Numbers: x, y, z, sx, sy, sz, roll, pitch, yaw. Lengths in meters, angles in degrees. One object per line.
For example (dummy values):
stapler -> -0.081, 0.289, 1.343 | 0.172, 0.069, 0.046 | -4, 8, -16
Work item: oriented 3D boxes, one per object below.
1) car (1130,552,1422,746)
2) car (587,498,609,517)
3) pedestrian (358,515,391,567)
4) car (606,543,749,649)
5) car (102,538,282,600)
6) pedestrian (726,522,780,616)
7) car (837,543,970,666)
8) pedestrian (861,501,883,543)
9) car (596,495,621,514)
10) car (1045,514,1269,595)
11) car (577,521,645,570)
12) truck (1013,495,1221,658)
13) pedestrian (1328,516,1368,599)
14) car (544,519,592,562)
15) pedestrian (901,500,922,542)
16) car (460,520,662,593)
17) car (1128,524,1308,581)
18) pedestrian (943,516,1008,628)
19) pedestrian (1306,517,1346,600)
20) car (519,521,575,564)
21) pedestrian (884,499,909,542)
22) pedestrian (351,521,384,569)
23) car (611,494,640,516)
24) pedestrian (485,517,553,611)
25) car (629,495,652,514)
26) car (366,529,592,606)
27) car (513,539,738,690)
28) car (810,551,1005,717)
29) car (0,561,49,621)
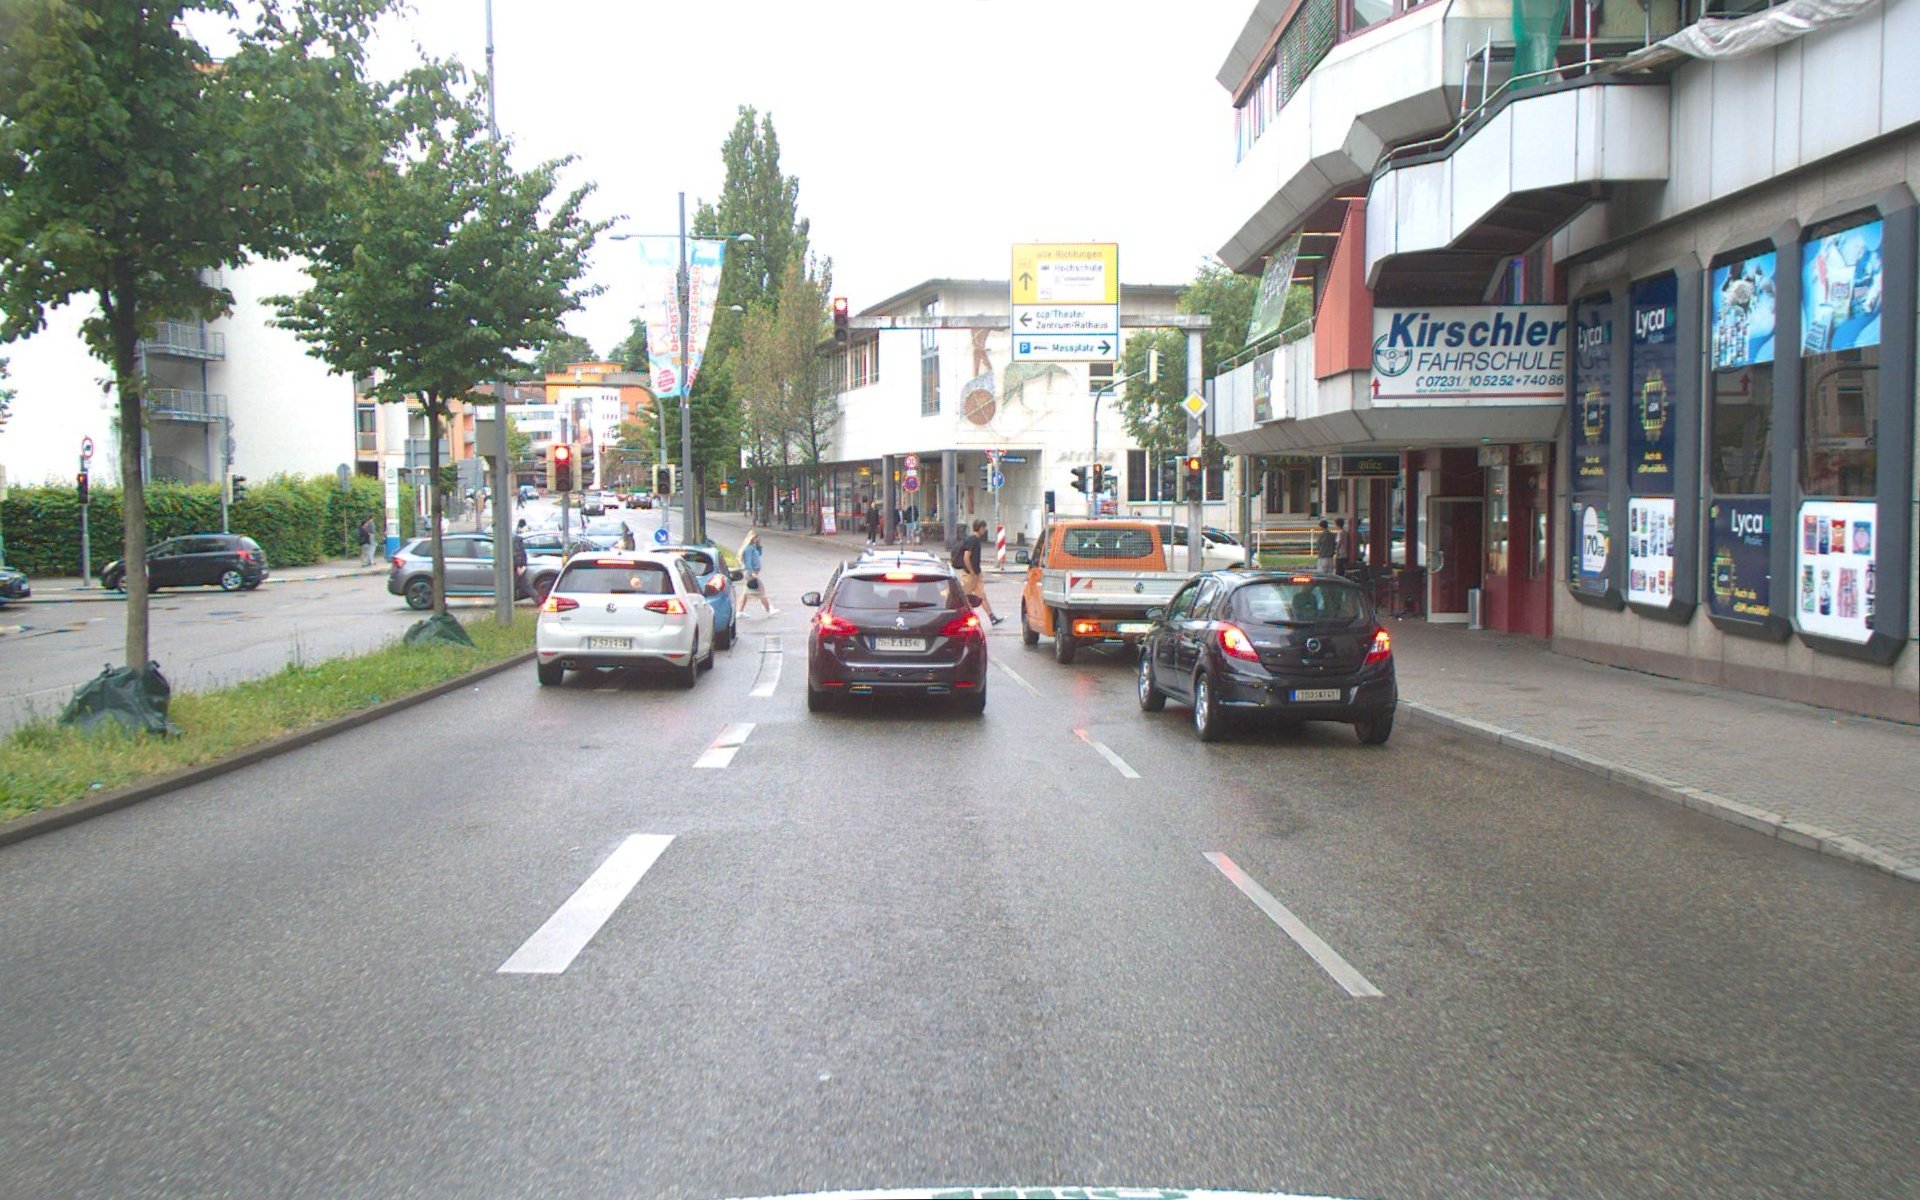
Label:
car -> 2.817, 0.356, 15.658 | 1.910, 1.601, 3.999 | 0, 1, -2
car -> -28.913, -7.365, 131.978 | 1.654, 1.292, 3.728 | -2, 1, -13
pedestrian -> -20.856, -2.101, 58.941 | 0.898, 1.834, 0.618 | -2, 1, -42
car -> -4.242, -0.114, 25.361 | 1.759, 1.493, 3.997 | 0, 2, -4
car -> -19.621, -0.810, 42.422 | 3.924, 1.554, 1.838 | -1, 1, -18
pedestrian -> -3.952, -0.591, 31.636 | 0.818, 1.752, 0.819 | -1, 1, 5
car -> -0.870, -0.010, 23.537 | 1.726, 1.569, 3.998 | 0, 2, -4
pedestrian -> -3.912, -3.467, 73.454 | 0.785, 1.834, 0.914 | -2, 1, -16
car -> -32.493, -8.830, 152.862 | 1.962, 1.623, 3.982 | -1, 1, -17
car -> 4.715, -1.070, 39.846 | 4.984, 1.789, 1.993 | 1, 1, -14
car -> -11.676, -1.809, 55.562 | 1.785, 1.576, 3.996 | 0, 1, -6
truck -> 2.144, -0.376, 24.342 | 2.141, 2.118, 5.599 | 0, 1, -4
pedestrian -> 8.242, -0.897, 35.158 | 0.566, 1.729, 0.648 | -2, 1, -15
car -> -16.301, -2.454, 68.910 | 1.674, 1.750, 3.991 | 0, 1, -10
pedestrian -> -2.177, -3.513, 73.547 | 0.691, 1.834, 0.935 | -2, 1, -16
car -> -9.816, -1.040, 40.705 | 4.617, 1.672, 1.775 | 1, 1, -22
car -> 6.841, -1.261, 43.990 | 4.326, 1.461, 1.991 | 0, 1, -16
pedestrian -> 0.283, -0.493, 29.222 | 1.040, 1.914, 0.839 | -1, 1, 5
pedestrian -> 7.692, -0.869, 34.765 | 0.565, 1.729, 0.649 | -2, 1, -11
car -> -15.482, -2.142, 62.134 | 1.745, 1.576, 3.991 | 0, 1, -10
pedestrian -> -2.809, -3.498, 72.964 | 0.832, 1.834, 1.052 | -2, 1, -16
pedestrian -> -20.584, -1.922, 57.445 | 0.918, 1.636, 0.555 | -2, 1, -42
car -> -32.540, -9.236, 160.877 | 1.967, 2.048, 3.971 | -1, 1, -24
pedestrian -> -8.445, -0.695, 31.726 | 0.989, 1.752, 0.839 | -1, 1, 3
car -> -29.757, -8.869, 154.104 | 1.801, 1.616, 3.858 | -1, 1, -15
car -> -10.236, -0.684, 35.513 | 4.512, 1.508, 1.935 | 1, 1, -14
car -> -3.821, 0.109, 19.565 | 1.910, 1.601, 4.000 | 0, 1, -1
car -> -0.652, 0.260, 17.203 | 1.776, 1.466, 3.997 | 1, 2, -5
car -> -23.049, -0.234, 36.411 | 4.911, 1.294, 1.759 | 1, 1, -14
